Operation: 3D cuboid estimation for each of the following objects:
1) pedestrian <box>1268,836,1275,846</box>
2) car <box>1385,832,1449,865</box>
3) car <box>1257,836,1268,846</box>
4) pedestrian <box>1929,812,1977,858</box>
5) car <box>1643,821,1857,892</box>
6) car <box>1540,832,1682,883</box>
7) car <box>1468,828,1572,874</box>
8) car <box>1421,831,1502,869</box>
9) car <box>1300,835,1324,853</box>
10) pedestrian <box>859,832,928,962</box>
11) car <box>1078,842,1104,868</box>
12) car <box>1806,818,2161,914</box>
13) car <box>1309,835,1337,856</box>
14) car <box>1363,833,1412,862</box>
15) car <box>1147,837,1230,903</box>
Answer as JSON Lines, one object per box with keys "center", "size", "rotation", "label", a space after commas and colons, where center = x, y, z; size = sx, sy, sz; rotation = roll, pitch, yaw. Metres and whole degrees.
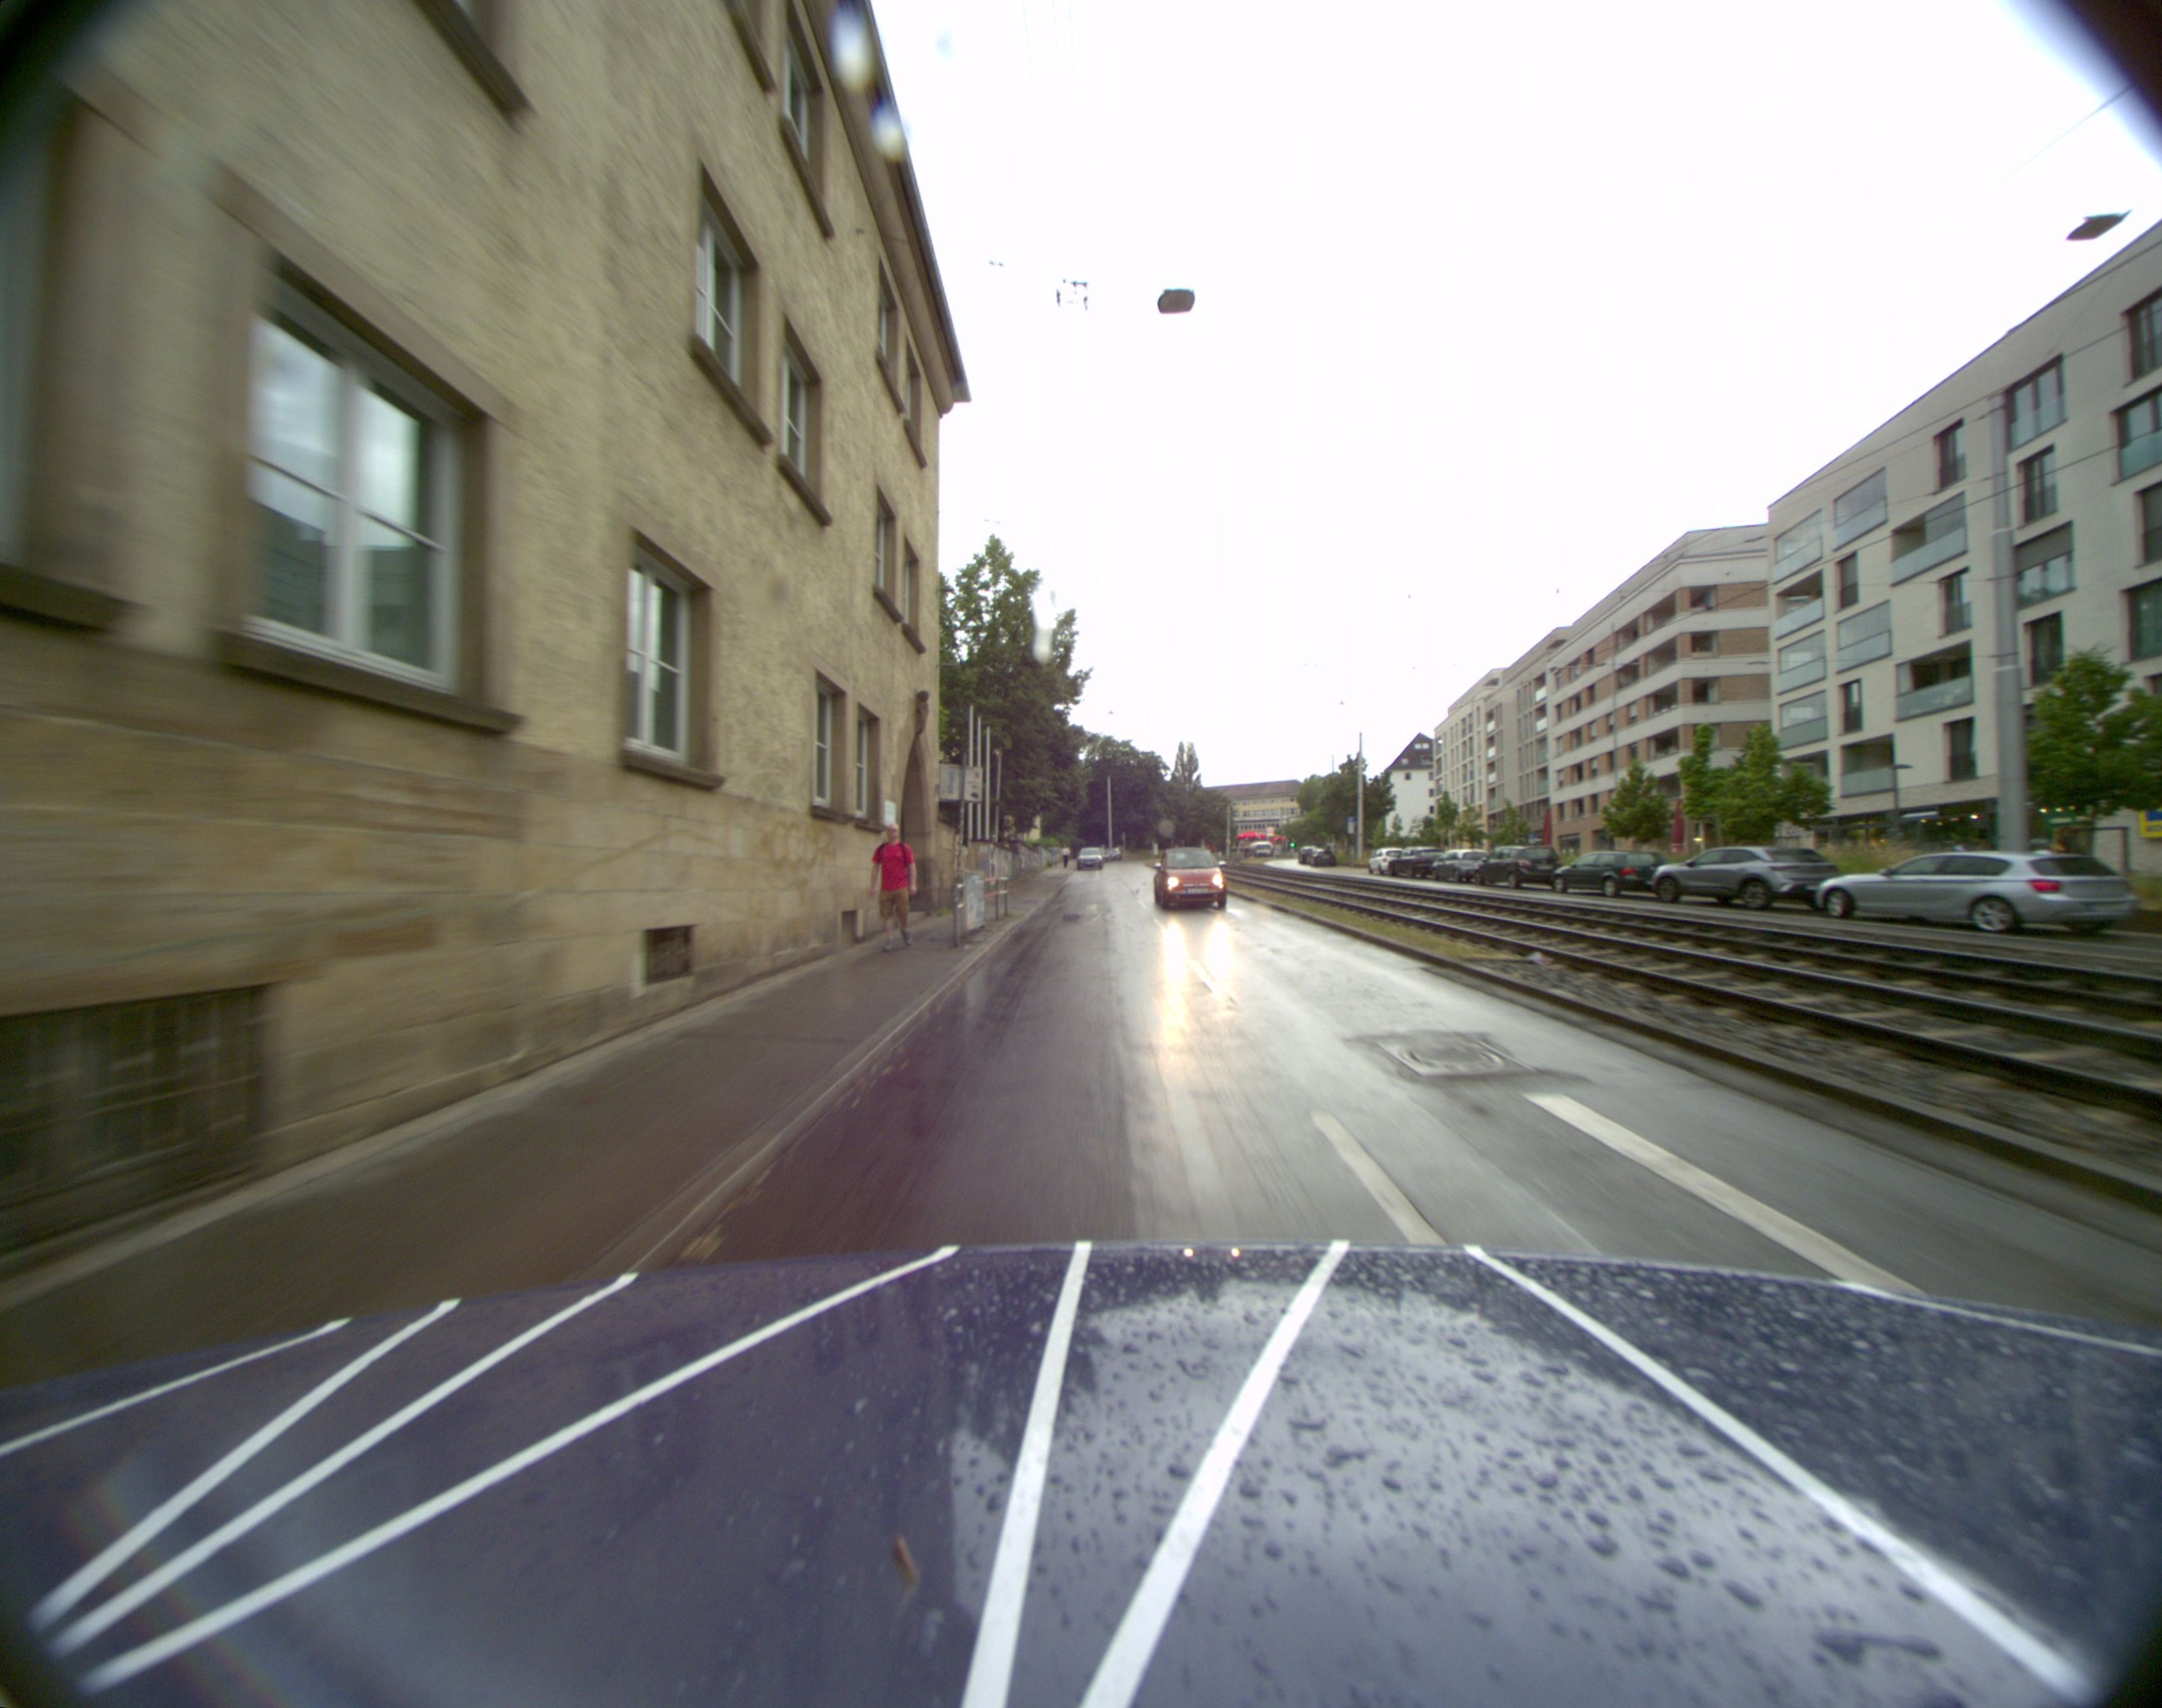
{"center": [30.871, -2.104, 122.859], "size": [0.816, 1.754, 0.751], "rotation": [1, 2, 41], "label": "pedestrian"}
{"center": [17.222, -0.312, 39.124], "size": [1.683, 1.496, 4.406], "rotation": [-3, 1, 6], "label": "car"}
{"center": [34.469, -2.516, 144.240], "size": [1.666, 1.598, 3.811], "rotation": [-4, 1, 16], "label": "car"}
{"center": [28.684, -0.643, 25.009], "size": [0.657, 1.441, 0.803], "rotation": [-4, 2, 14], "label": "pedestrian"}
{"center": [16.760, 0.025, 19.342], "size": [1.685, 1.521, 4.047], "rotation": [-4, 1, -3], "label": "car"}
{"center": [16.629, 0.053, 24.103], "size": [1.684, 1.373, 4.032], "rotation": [-3, 1, 1], "label": "car"}
{"center": [16.633, -0.151, 29.040], "size": [1.684, 1.554, 3.928], "rotation": [-3, 1, 1], "label": "car"}
{"center": [17.085, -0.217, 34.331], "size": [1.684, 1.496, 3.928], "rotation": [-3, 1, 1], "label": "car"}
{"center": [21.685, -0.988, 71.318], "size": [1.653, 1.456, 3.672], "rotation": [-4, 1, 10], "label": "car"}
{"center": [-2.630, 0.581, 10.735], "size": [0.748, 1.754, 0.818], "rotation": [1, 2, 1], "label": "pedestrian"}
{"center": [0.736, 0.018, 55.284], "size": [1.726, 1.676, 3.865], "rotation": [-5, 1, 0], "label": "car"}
{"center": [16.660, 0.146, 14.419], "size": [1.684, 1.456, 4.328], "rotation": [-3, 1, 1], "label": "car"}
{"center": [20.048, -0.722, 62.978], "size": [1.653, 1.456, 3.672], "rotation": [-4, 1, 10], "label": "car"}
{"center": [17.768, -0.412, 44.175], "size": [1.649, 1.496, 3.781], "rotation": [-3, 1, 7], "label": "car"}
{"center": [2.746, 0.338, 20.066], "size": [1.594, 1.456, 3.669], "rotation": [-5, 1, 1], "label": "car"}
